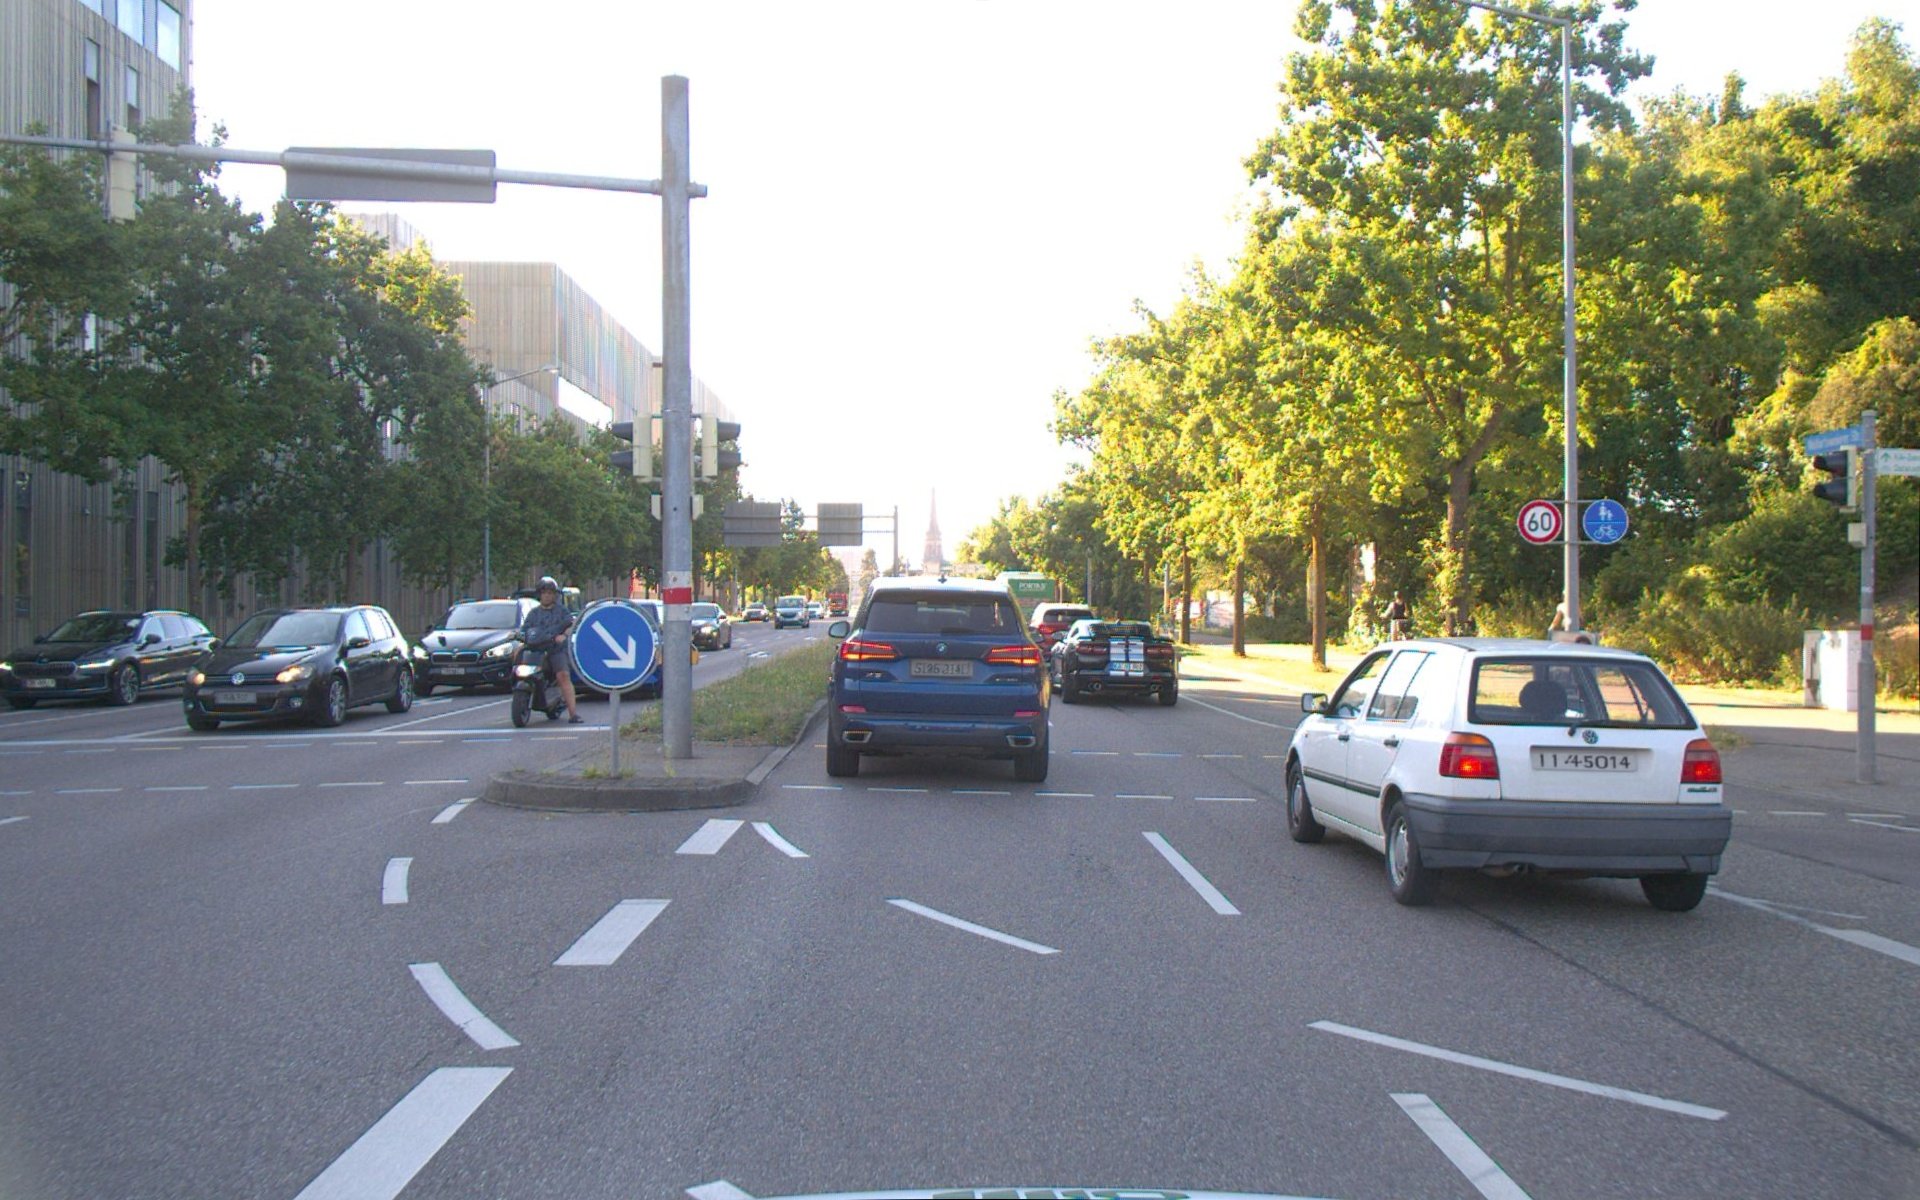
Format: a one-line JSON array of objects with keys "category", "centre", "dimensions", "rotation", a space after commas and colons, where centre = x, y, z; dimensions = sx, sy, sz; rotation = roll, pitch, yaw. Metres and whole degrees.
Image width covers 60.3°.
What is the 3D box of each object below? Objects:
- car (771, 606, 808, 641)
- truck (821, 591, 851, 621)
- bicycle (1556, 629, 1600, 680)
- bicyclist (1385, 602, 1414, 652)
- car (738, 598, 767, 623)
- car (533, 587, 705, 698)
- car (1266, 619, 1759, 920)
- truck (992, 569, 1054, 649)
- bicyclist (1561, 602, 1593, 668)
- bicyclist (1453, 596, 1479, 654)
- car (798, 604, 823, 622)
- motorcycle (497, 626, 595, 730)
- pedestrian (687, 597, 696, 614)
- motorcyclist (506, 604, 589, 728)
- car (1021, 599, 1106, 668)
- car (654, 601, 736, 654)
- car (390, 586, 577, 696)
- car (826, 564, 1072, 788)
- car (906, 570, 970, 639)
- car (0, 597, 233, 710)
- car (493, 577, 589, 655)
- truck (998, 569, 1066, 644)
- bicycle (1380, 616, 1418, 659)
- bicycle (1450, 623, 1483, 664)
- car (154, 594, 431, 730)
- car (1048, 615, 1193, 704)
[{"category": "car", "centre": [-9.679, 1.353, 94.275], "dimensions": [1.721, 1.808, 4.492], "rotation": [-3, -1, -2]}, {"category": "truck", "centre": [-18.179, 0.917, 242.835], "dimensions": [3.909, 4.160, 11.441], "rotation": [2, -1, -3]}, {"category": "bicycle", "centre": [11.784, 1.034, 31.550], "dimensions": [0.428, 0.930, 1.026], "rotation": [-1, -1, -1]}, {"category": "bicyclist", "centre": [11.887, 0.727, 44.780], "dimensions": [0.532, 1.339, 0.835], "rotation": [2, -1, -1]}, {"category": "car", "centre": [-16.198, 0.829, 129.180], "dimensions": [1.721, 1.735, 4.492], "rotation": [-3, -1, -2]}, {"category": "car", "centre": [-5.147, 0.628, 25.446], "dimensions": [1.667, 1.477, 3.858], "rotation": [-3, -1, 2]}, {"category": "car", "centre": [3.100, 0.876, 10.167], "dimensions": [1.547, 1.438, 4.060], "rotation": [2, -1, -2]}, {"category": "truck", "centre": [2.224, 0.346, 59.627], "dimensions": [1.955, 2.715, 3.999], "rotation": [2, -1, -1]}, {"category": "bicyclist", "centre": [11.776, 0.668, 31.572], "dimensions": [0.419, 1.254, 0.460], "rotation": [0, -1, -1]}, {"category": "bicyclist", "centre": [11.840, 0.577, 38.703], "dimensions": [0.419, 1.332, 0.460], "rotation": [2, -1, -1]}, {"category": "car", "centre": [-13.676, 1.244, 151.593], "dimensions": [1.954, 1.477, 4.712], "rotation": [-3, -1, -2]}, {"category": "motorcycle", "centre": [-4.881, 0.887, 19.650], "dimensions": [0.824, 1.094, 2.397], "rotation": [-2, 0, -8]}, {"category": "pedestrian", "centre": [-24.418, 0.527, 150.275], "dimensions": [0.614, 1.548, 0.718], "rotation": [2, -1, 2]}, {"category": "motorcyclist", "centre": [-4.884, 0.756, 19.659], "dimensions": [0.782, 1.373, 1.272], "rotation": [-1, 1, -8]}, {"category": "car", "centre": [2.507, 0.825, 40.871], "dimensions": [1.760, 1.586, 3.999], "rotation": [2, -1, -1]}, {"category": "car", "centre": [-8.353, 0.884, 52.547], "dimensions": [1.954, 1.477, 4.796], "rotation": [-4, -1, -3]}, {"category": "car", "centre": [-8.076, 0.695, 28.526], "dimensions": [1.954, 1.619, 4.712], "rotation": [-3, -1, -2]}, {"category": "car", "centre": [-0.124, 0.661, 15.708], "dimensions": [1.953, 1.764, 4.531], "rotation": [2, -1, -1]}, {"category": "car", "centre": [-0.949, 0.208, 66.935], "dimensions": [2.095, 2.621, 5.080], "rotation": [2, -1, -6]}, {"category": "car", "centre": [-14.030, 0.867, 27.429], "dimensions": [1.954, 1.619, 4.712], "rotation": [-3, -1, -2]}, {"category": "car", "centre": [-11.865, 0.417, 47.053], "dimensions": [1.758, 2.013, 3.992], "rotation": [-3, 1, -2]}, {"category": "truck", "centre": [2.340, 0.245, 54.821], "dimensions": [1.955, 2.356, 3.999], "rotation": [2, -1, -1]}, {"category": "bicycle", "centre": [11.873, 1.013, 44.794], "dimensions": [0.553, 1.132, 1.621], "rotation": [2, -1, -1]}, {"category": "bicycle", "centre": [11.834, 1.019, 38.624], "dimensions": [0.428, 0.930, 1.026], "rotation": [2, -1, -1]}, {"category": "car", "centre": [-8.359, 0.757, 21.143], "dimensions": [1.953, 1.501, 4.078], "rotation": [2, -1, -2]}, {"category": "car", "centre": [2.593, 0.957, 27.598], "dimensions": [1.953, 1.317, 3.999], "rotation": [2, -1, -1]}]
